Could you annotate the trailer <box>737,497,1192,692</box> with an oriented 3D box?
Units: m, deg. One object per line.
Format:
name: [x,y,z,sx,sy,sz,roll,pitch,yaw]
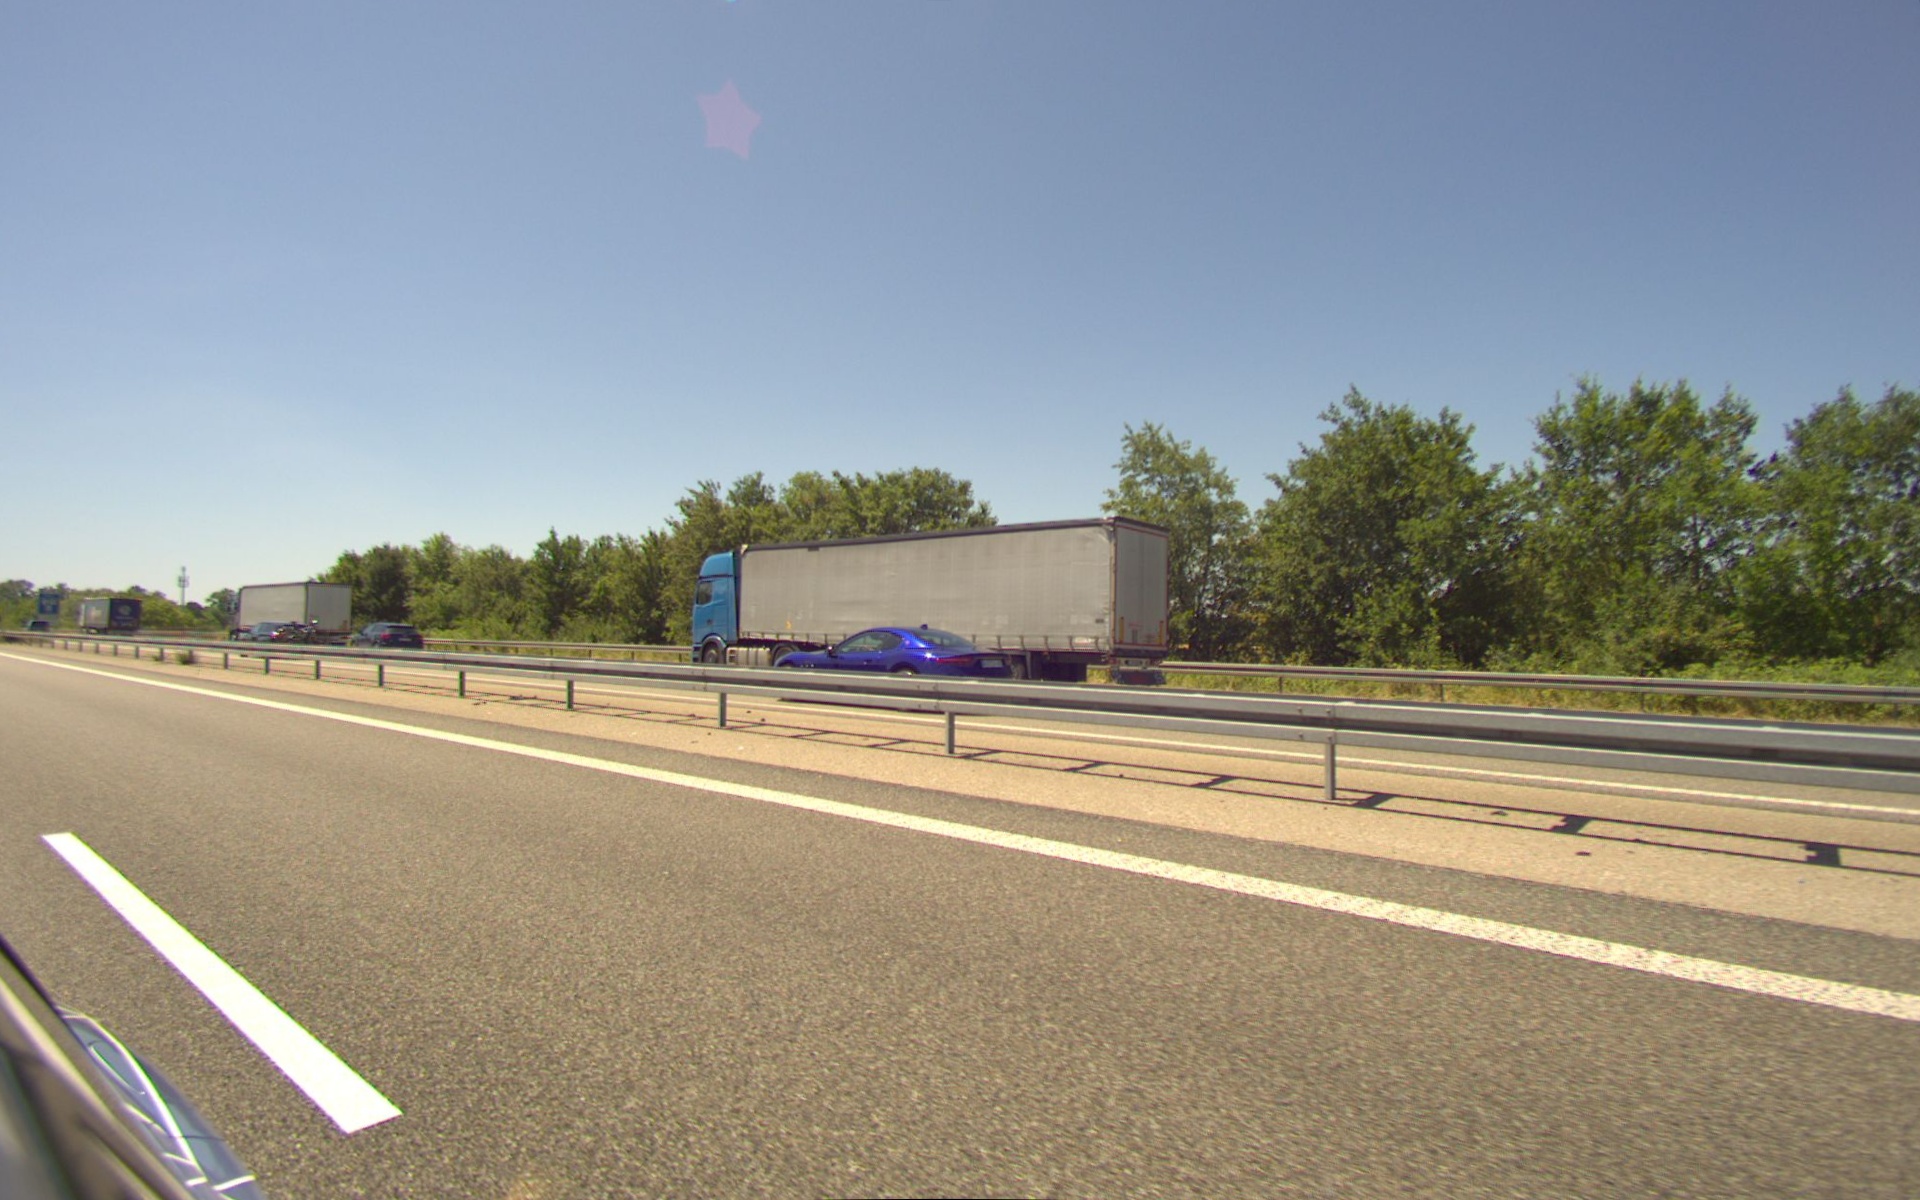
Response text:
trailer: [-0.595,0.101,27.543,13.532,4.218,3.263,-2,-3,41]

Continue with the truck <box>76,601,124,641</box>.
truck: [-93.250,2.252,109.673,6.190,4.161,2.886,-1,-4,41]

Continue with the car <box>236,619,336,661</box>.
car: [-25.814,1.517,38.682,5.167,1.474,1.830,-1,-4,41]

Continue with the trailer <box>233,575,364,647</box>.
trailer: [-42.542,0.853,64.769,13.532,4.218,3.314,-2,-3,41]

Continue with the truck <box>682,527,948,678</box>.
truck: [-4.685,0.195,31.100,8.722,4.017,3.218,-2,-2,41]

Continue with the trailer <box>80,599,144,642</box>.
trailer: [-88.480,2.151,105.460,13.535,4.218,2.889,-1,-4,41]

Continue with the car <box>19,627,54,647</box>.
car: [-102.378,4.095,112.128,5.354,2.003,2.206,-1,2,41]

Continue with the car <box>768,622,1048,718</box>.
car: [-0.990,1.106,17.033,4.740,1.406,1.830,-1,-4,41]

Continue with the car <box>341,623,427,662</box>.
car: [-24.582,1.760,43.128,4.311,1.474,1.831,-1,2,41]

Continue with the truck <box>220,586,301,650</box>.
truck: [-48.038,1.282,69.418,6.190,4.161,3.164,-2,-2,41]
